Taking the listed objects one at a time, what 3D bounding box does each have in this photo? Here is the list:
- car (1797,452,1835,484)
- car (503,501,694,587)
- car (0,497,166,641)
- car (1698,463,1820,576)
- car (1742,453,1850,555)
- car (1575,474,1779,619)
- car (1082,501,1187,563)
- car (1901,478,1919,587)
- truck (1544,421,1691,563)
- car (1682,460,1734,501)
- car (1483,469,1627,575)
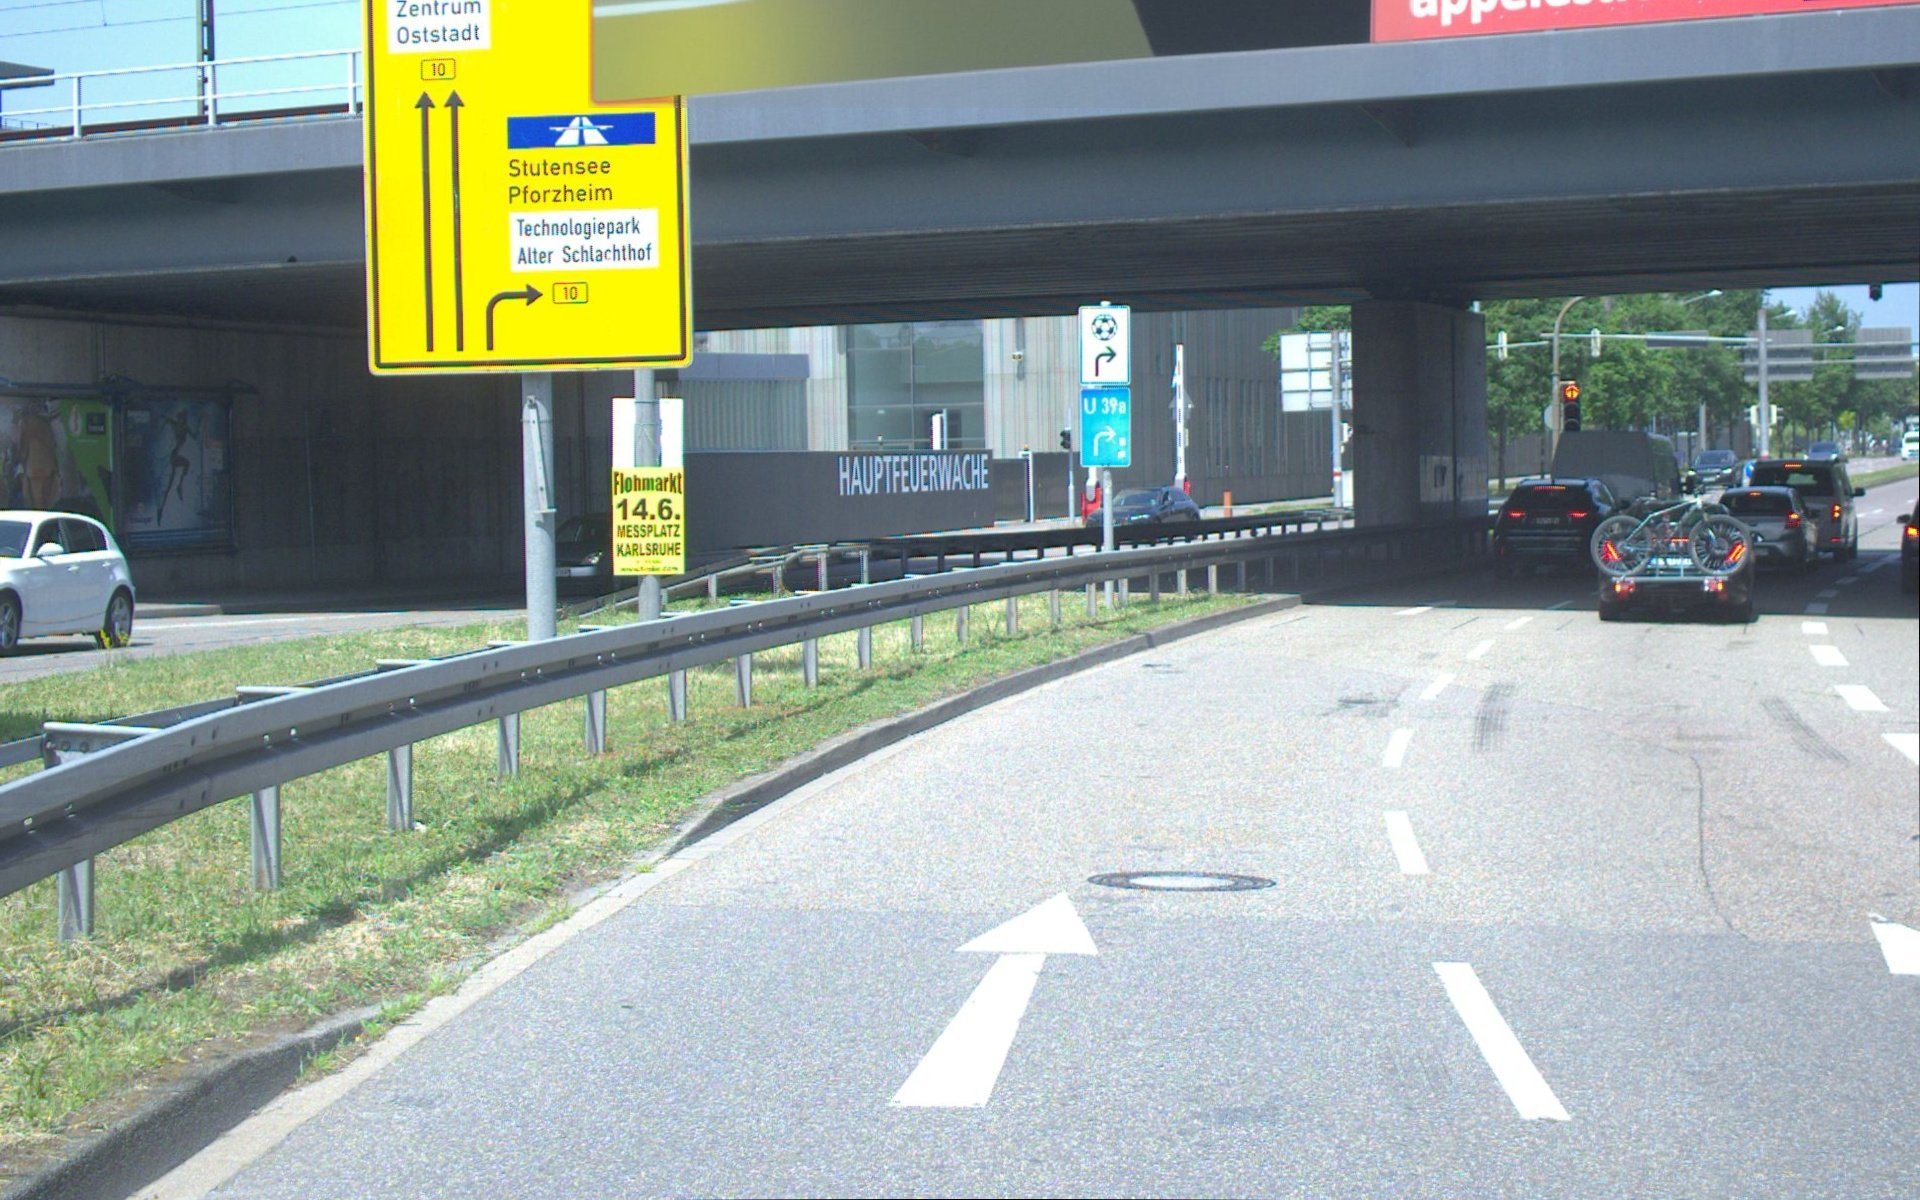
[{"bbox_3d":[45.771,-7.038,183.776,1.855,1.617,3.997,0,1,15],"label":"car"},{"bbox_3d":[-6.479,-1.004,61.994,1.995,1.436,3.997,-2,0,17],"label":"car"},{"bbox_3d":[-9.652,-0.337,34.611,1.655,1.375,4.216,0,1,11],"label":"car"},{"bbox_3d":[13.854,-1.384,59.486,1.841,1.883,3.997,0,1,16],"label":"car"},{"bbox_3d":[15.957,-1.812,65.517,1.841,1.883,3.997,0,1,16],"label":"car"},{"bbox_3d":[8.586,-0.675,40.929,1.958,1.628,4.277,1,2,17],"label":"car"},{"bbox_3d":[4.647,-1.815,91.132,1.856,1.617,3.997,0,1,17],"label":"car"},{"bbox_3d":[14.880,-1.003,50.776,1.841,1.563,3.997,0,1,16],"label":"car"},{"bbox_3d":[12.420,-2.026,64.777,2.069,2.529,3.996,-1,1,20],"label":"truck"},{"bbox_3d":[30.894,-4.922,141.981,1.855,1.617,3.997,0,1,16],"label":"car"},{"bbox_3d":[9.991,-1.303,57.534,1.942,1.715,3.997,0,1,16],"label":"car"}]
